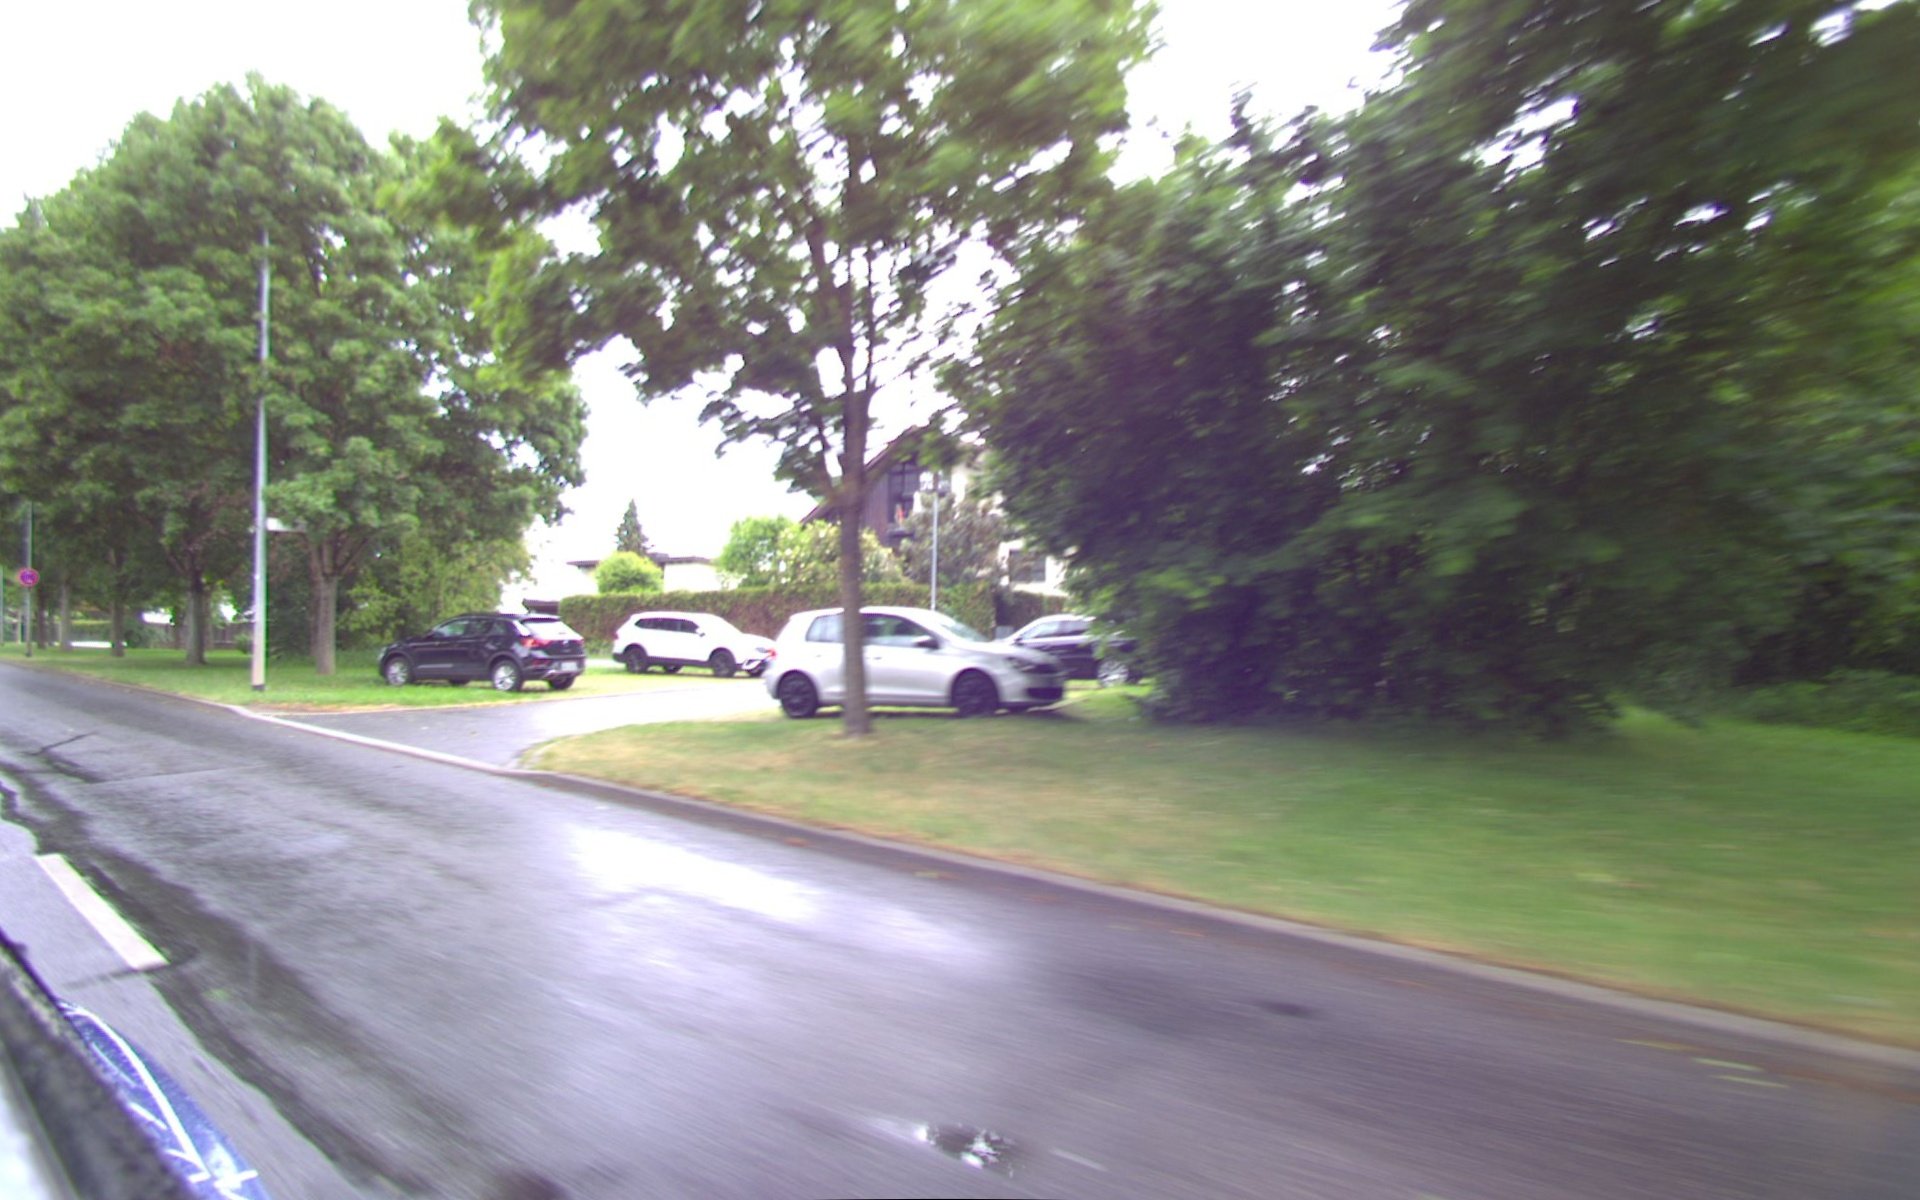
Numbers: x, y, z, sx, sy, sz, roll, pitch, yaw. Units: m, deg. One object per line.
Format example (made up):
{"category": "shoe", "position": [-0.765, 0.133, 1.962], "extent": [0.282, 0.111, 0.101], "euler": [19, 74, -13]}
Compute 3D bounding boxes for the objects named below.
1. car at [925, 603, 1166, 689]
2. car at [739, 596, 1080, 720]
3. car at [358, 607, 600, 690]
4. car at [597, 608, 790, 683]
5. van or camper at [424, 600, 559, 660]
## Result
{"category": "car", "position": [1.761, 0.965, 20.645], "extent": [4.568, 1.520, 1.857], "euler": [-3, -3, 18]}
{"category": "car", "position": [-0.679, 0.817, 13.632], "extent": [4.190, 1.441, 1.872], "euler": [-3, -3, 23]}
{"category": "car", "position": [-9.645, 0.944, 20.367], "extent": [4.212, 1.525, 1.884], "euler": [0, -3, 17]}
{"category": "car", "position": [-7.237, 1.194, 27.472], "extent": [4.864, 1.783, 1.896], "euler": [1, -2, 22]}
{"category": "van or camper", "position": [-19.453, 1.258, 41.877], "extent": [6.135, 2.353, 2.073], "euler": [-1, -3, 33]}
